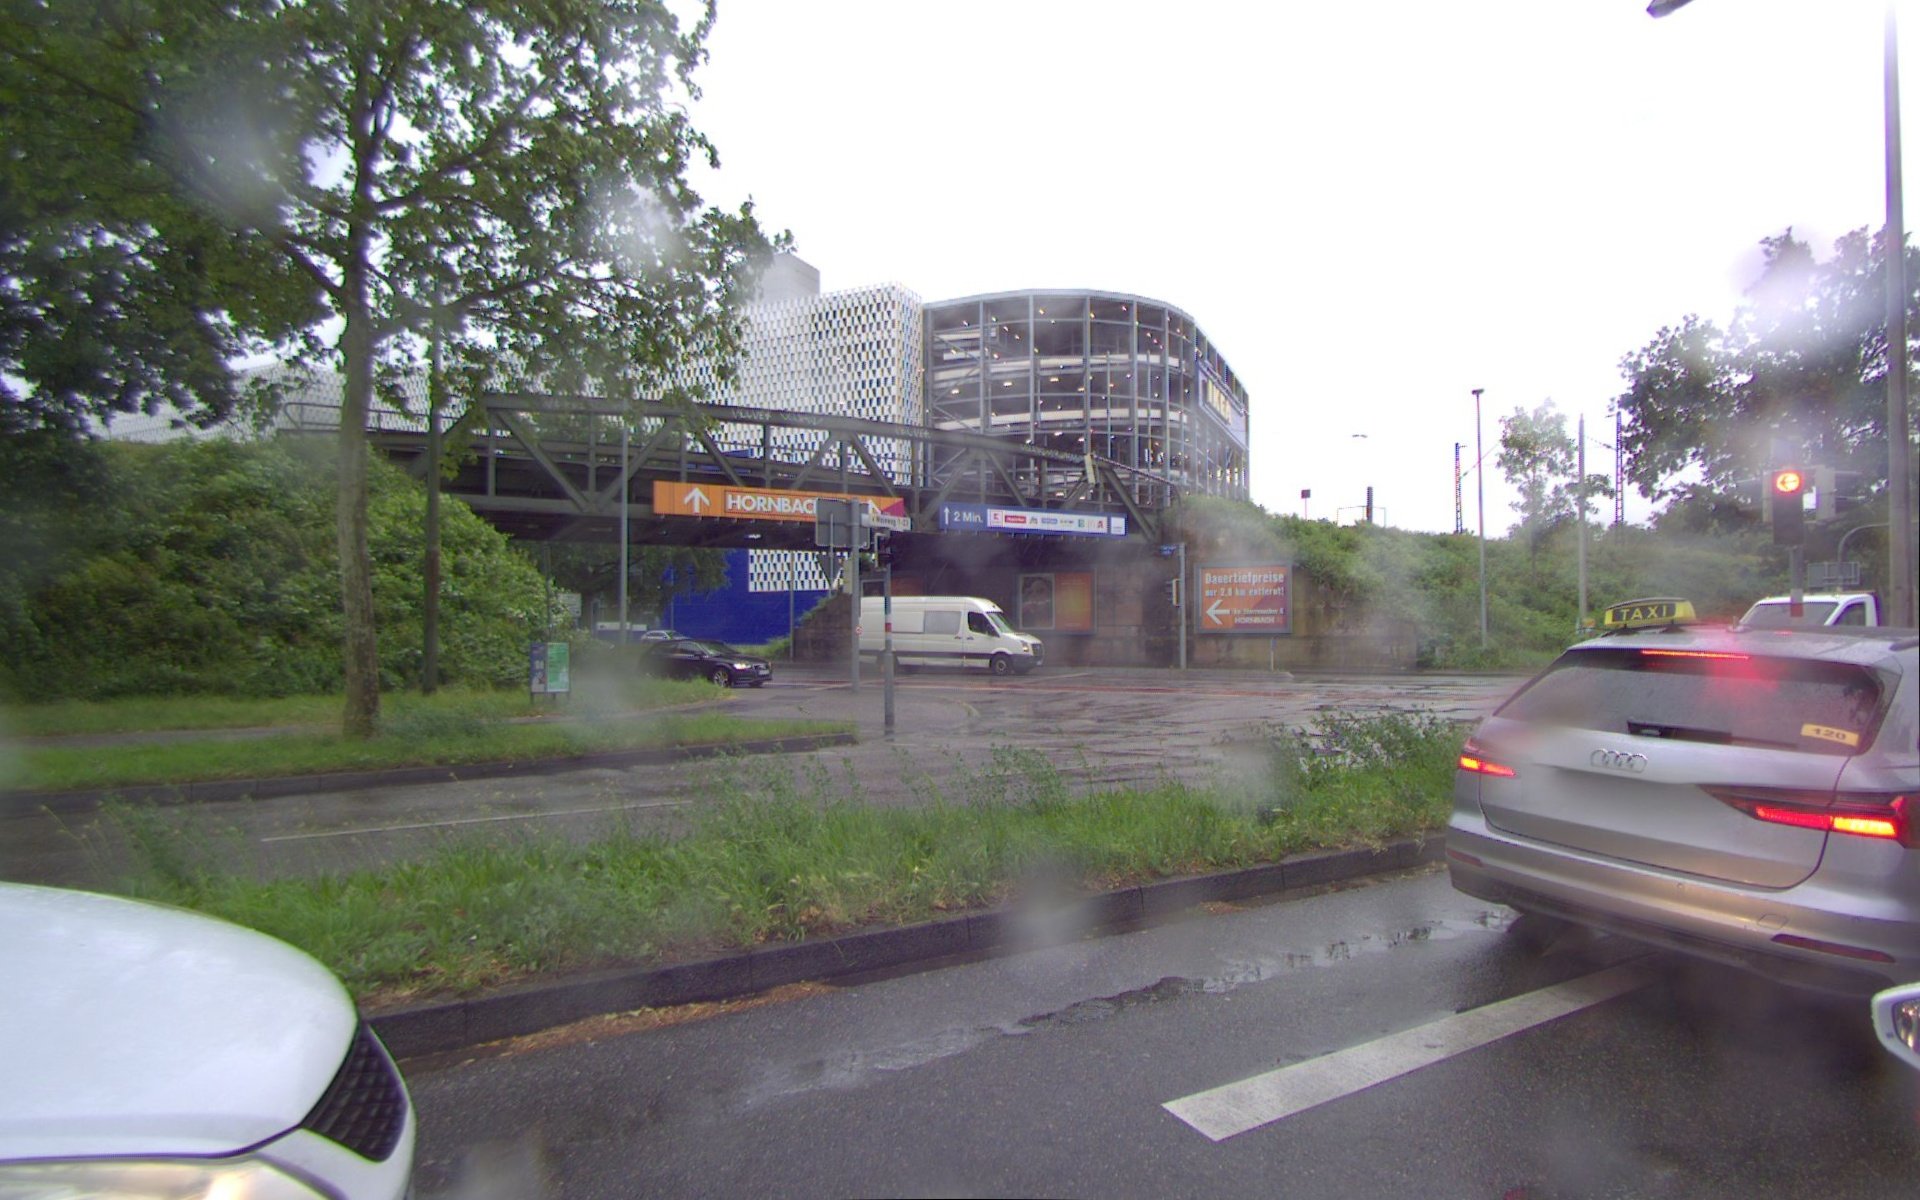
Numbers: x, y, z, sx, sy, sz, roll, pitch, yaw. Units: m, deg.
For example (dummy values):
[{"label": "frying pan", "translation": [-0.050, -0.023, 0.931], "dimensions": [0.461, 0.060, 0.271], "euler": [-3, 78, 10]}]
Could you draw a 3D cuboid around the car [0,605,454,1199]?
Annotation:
[{"label": "car", "translation": [-2.744, 0.701, 0.928], "dimensions": [3.965, 1.395, 1.670], "euler": [1, 0, -31]}]

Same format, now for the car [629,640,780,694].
[{"label": "car", "translation": [-7.458, 1.929, 29.305], "dimensions": [4.067, 1.453, 1.693], "euler": [-1, -1, 23]}]

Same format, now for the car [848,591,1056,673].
[{"label": "car", "translation": [-0.305, 1.110, 34.731], "dimensions": [6.847, 2.645, 2.386], "euler": [-1, -2, 25]}]

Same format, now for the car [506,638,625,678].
[{"label": "car", "translation": [-16.807, 2.423, 42.770], "dimensions": [4.858, 1.621, 1.882], "euler": [-1, -2, 24]}]

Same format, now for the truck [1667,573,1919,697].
[{"label": "truck", "translation": [18.978, 0.742, 21.384], "dimensions": [6.747, 2.396, 2.477], "euler": [0, -2, -12]}]

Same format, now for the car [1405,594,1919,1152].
[{"label": "car", "translation": [4.407, 0.816, 4.809], "dimensions": [4.766, 1.595, 1.760], "euler": [1, 0, -31]}]
